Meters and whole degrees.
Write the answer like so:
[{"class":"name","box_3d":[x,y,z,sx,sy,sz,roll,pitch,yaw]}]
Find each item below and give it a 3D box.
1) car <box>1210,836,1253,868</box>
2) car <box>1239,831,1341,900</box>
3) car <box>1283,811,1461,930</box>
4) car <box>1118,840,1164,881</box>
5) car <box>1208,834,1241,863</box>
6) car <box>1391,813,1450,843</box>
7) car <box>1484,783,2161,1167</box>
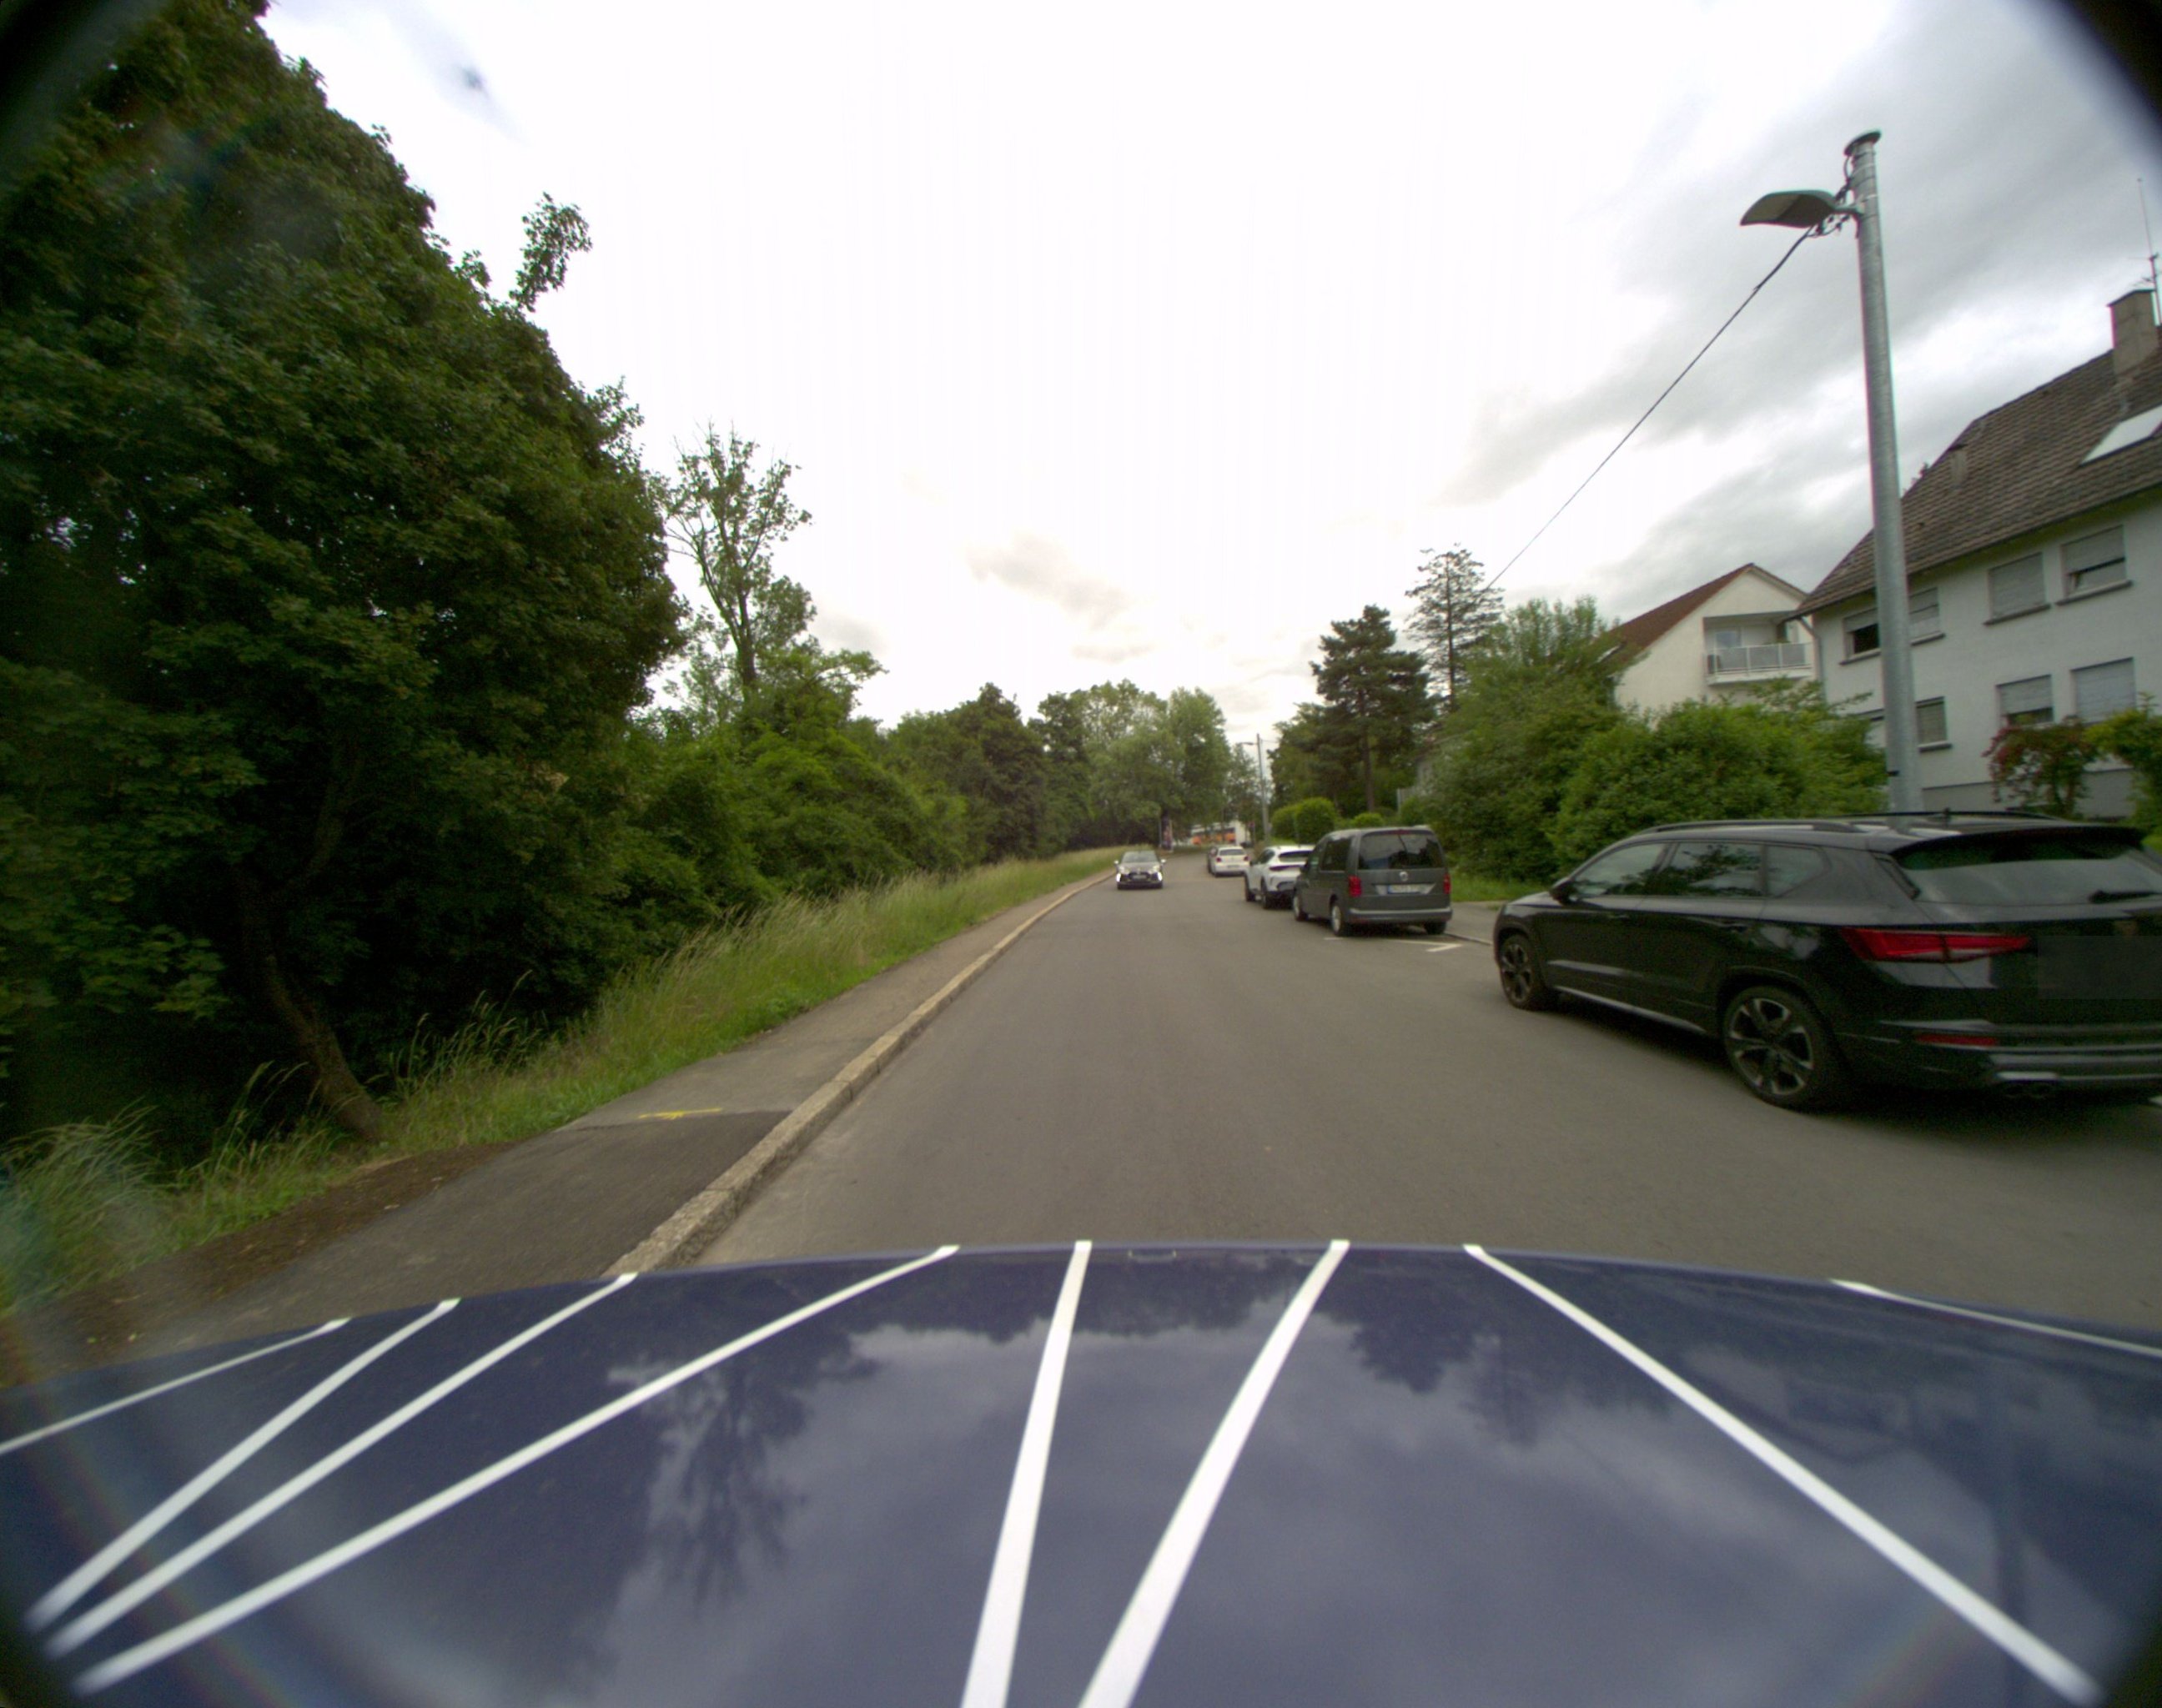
[{"class":"car","box_3d":[7.336,-0.120,37.294,1.735,1.420,3.459,-2,1,7]},{"class":"car","box_3d":[5.107,0.234,19.077,1.665,1.496,4.045,-2,1,4]},{"class":"car","box_3d":[5.022,0.229,13.738,1.800,1.790,4.064,-2,1,3]},{"class":"car","box_3d":[2.395,0.215,29.506,1.619,1.460,4.001,-1,1,7]},{"class":"car","box_3d":[7.805,-0.307,41.577,1.605,1.521,3.589,-1,1,8]},{"class":"car","box_3d":[16.460,-1.231,37.048,1.649,1.324,3.906,-1,1,9]},{"class":"car","box_3d":[4.599,0.465,5.154,1.665,1.572,4.077,-2,1,2]}]
